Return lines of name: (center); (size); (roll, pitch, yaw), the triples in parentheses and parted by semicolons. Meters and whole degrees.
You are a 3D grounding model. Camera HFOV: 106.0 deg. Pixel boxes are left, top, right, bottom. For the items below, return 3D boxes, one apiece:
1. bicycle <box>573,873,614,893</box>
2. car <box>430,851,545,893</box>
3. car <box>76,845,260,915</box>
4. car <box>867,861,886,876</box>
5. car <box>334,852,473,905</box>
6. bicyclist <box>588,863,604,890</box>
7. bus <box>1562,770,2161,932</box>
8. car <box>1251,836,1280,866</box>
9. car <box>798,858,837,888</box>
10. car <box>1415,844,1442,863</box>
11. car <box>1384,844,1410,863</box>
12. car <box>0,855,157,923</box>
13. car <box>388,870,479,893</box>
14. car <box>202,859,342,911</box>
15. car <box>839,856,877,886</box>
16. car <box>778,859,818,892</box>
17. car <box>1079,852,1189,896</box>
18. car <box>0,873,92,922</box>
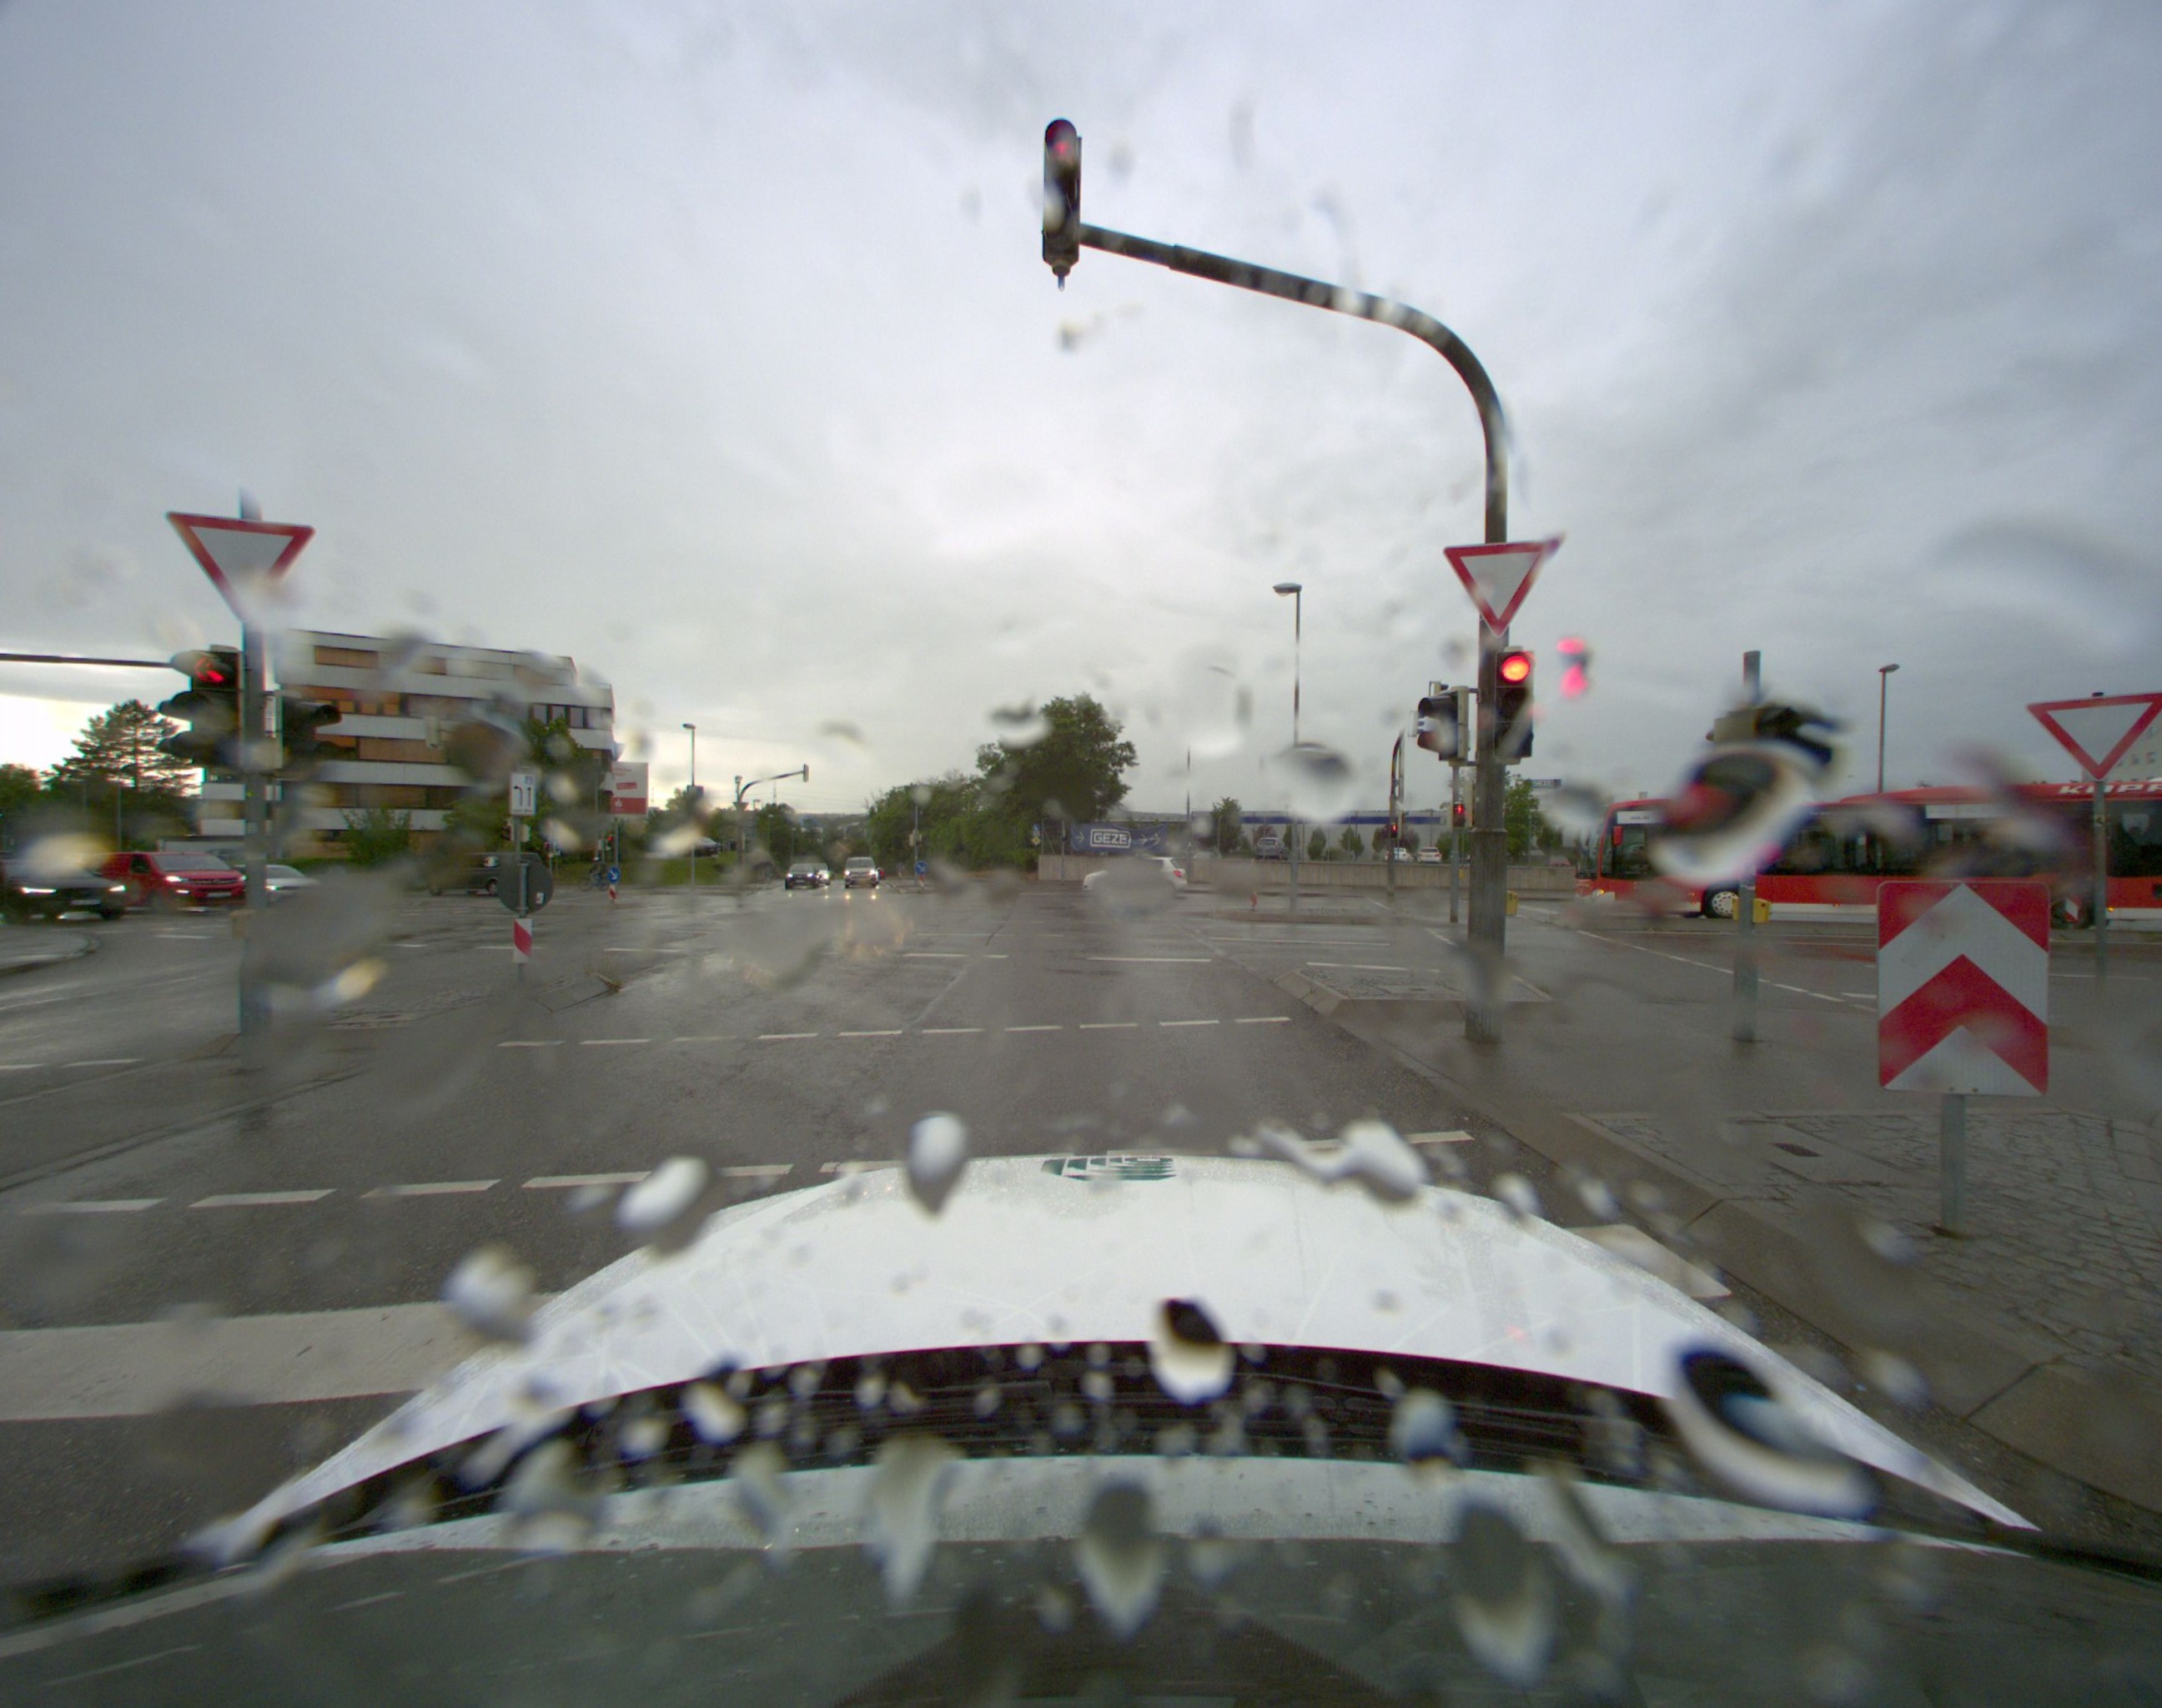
bicycle: (-26.150, 1.532, 43.696); (1.771, 1.052, 0.609); (0, 0, -5)
car: (-26.849, 0.779, 36.879); (3.962, 1.848, 2.006); (0, 0, 10)
car: (-28.302, 0.760, 25.266); (4.733, 2.013, 2.009); (0, 0, 18)
car: (-22.146, 1.569, 88.186); (1.621, 1.448, 3.781); (1, 1, -21)
car: (-24.876, 0.855, 29.946); (4.108, 1.840, 2.009); (0, 0, 17)
bicyclist: (-26.020, 1.201, 43.706); (0.542, 1.446, 0.602); (0, 0, -5)
bus: (18.819, -0.165, 19.497); (12.176, 3.321, 3.090); (1, 1, 19)
car: (13.113, -0.207, 57.737); (1.979, 2.013, 4.015); (0, 0, 13)
car: (-18.173, 1.281, 56.256); (1.993, 1.895, 3.987); (0, 0, -10)
car: (28.706, -0.040, 67.359); (1.976, 1.478, 4.021); (0, 0, 21)
car: (26.400, -0.051, 68.038); (1.976, 1.478, 4.021); (0, 0, 22)
car: (-27.743, 0.918, 21.939); (4.580, 1.679, 2.044); (-1, 0, 17)
car: (-35.048, 1.475, 44.215); (3.522, 1.105, 1.805); (0, 0, -26)
car: (-28.320, 1.037, 28.513); (3.953, 1.684, 2.010); (0, 0, 21)
car: (-13.147, 0.978, 48.162); (1.995, 1.618, 3.983); (0, 0, -13)
car: (-16.921, 1.237, 48.836); (1.998, 1.895, 3.978); (0, 0, -16)
car: (2.067, 0.730, 31.134); (3.960, 1.596, 1.964); (0, 0, 12)
car: (-36.931, 1.461, 28.184); (4.620, 1.476, 2.010); (0, 0, 20)
